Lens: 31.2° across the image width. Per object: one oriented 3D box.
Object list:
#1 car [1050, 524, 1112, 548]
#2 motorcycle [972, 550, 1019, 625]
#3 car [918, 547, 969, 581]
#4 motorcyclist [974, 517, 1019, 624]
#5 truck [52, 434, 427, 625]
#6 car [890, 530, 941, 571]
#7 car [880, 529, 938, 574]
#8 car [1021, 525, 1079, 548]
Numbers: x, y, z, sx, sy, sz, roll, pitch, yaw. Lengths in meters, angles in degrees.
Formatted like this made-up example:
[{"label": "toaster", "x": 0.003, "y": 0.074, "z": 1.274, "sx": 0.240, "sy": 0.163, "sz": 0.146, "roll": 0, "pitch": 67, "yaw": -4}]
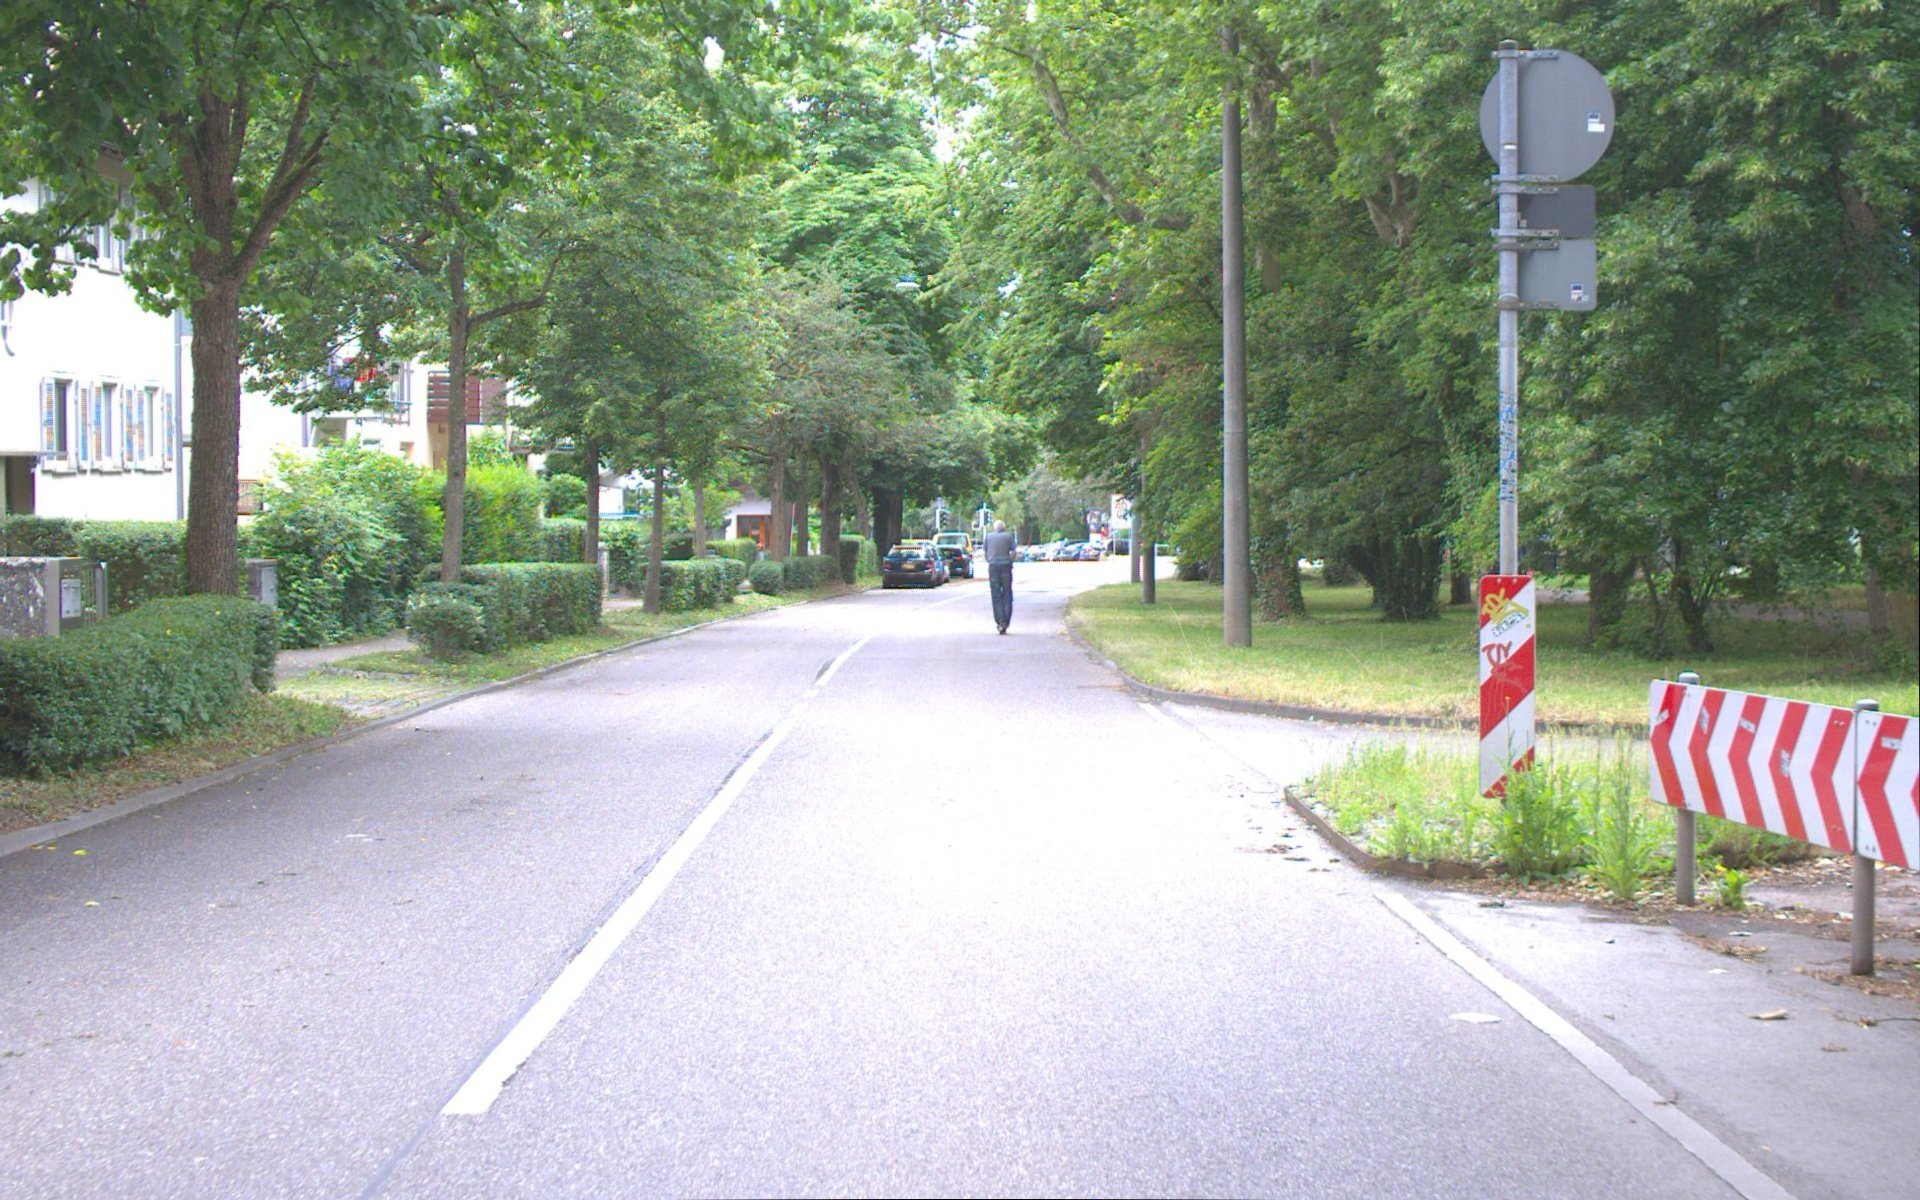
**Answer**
[{"label": "car", "x": 7.981, "y": -4.226, "z": 226.966, "sx": 3.987, "sy": 1.505, "sz": 1.800, "roll": -1, "pitch": 1, "yaw": 1}, {"label": "motorcycle", "x": 0.588, "y": -0.221, "z": 56.987, "sx": 0.673, "sy": 1.213, "sz": 1.273, "roll": 1, "pitch": 1, "yaw": 4}, {"label": "car", "x": -0.679, "y": -1.510, "z": 146.368, "sx": 1.892, "sy": 1.405, "sz": 4.553, "roll": -1, "pitch": 0, "yaw": 3}, {"label": "motorcyclist", "x": 0.602, "y": -0.491, "z": 57.121, "sx": 0.673, "sy": 1.755, "sz": 0.639, "roll": 1, "pitch": 1, "yaw": 4}, {"label": "truck", "x": -12.061, "y": -1.187, "z": 57.872, "sx": 5.796, "sy": 3.120, "sz": 2.518, "roll": 0, "pitch": 1, "yaw": 0}, {"label": "car", "x": -1.550, "y": -1.723, "z": 120.324, "sx": 1.664, "sy": 1.387, "sz": 3.707, "roll": -1, "pitch": 1, "yaw": 1}, {"label": "car", "x": -1.694, "y": -1.633, "z": 115.299, "sx": 1.794, "sy": 1.467, "sz": 4.418, "roll": -1, "pitch": 1, "yaw": 1}, {"label": "car", "x": 6.243, "y": -4.422, "z": 239.701, "sx": 3.987, "sy": 1.505, "sz": 1.800, "roll": -1, "pitch": 1, "yaw": 1}]
